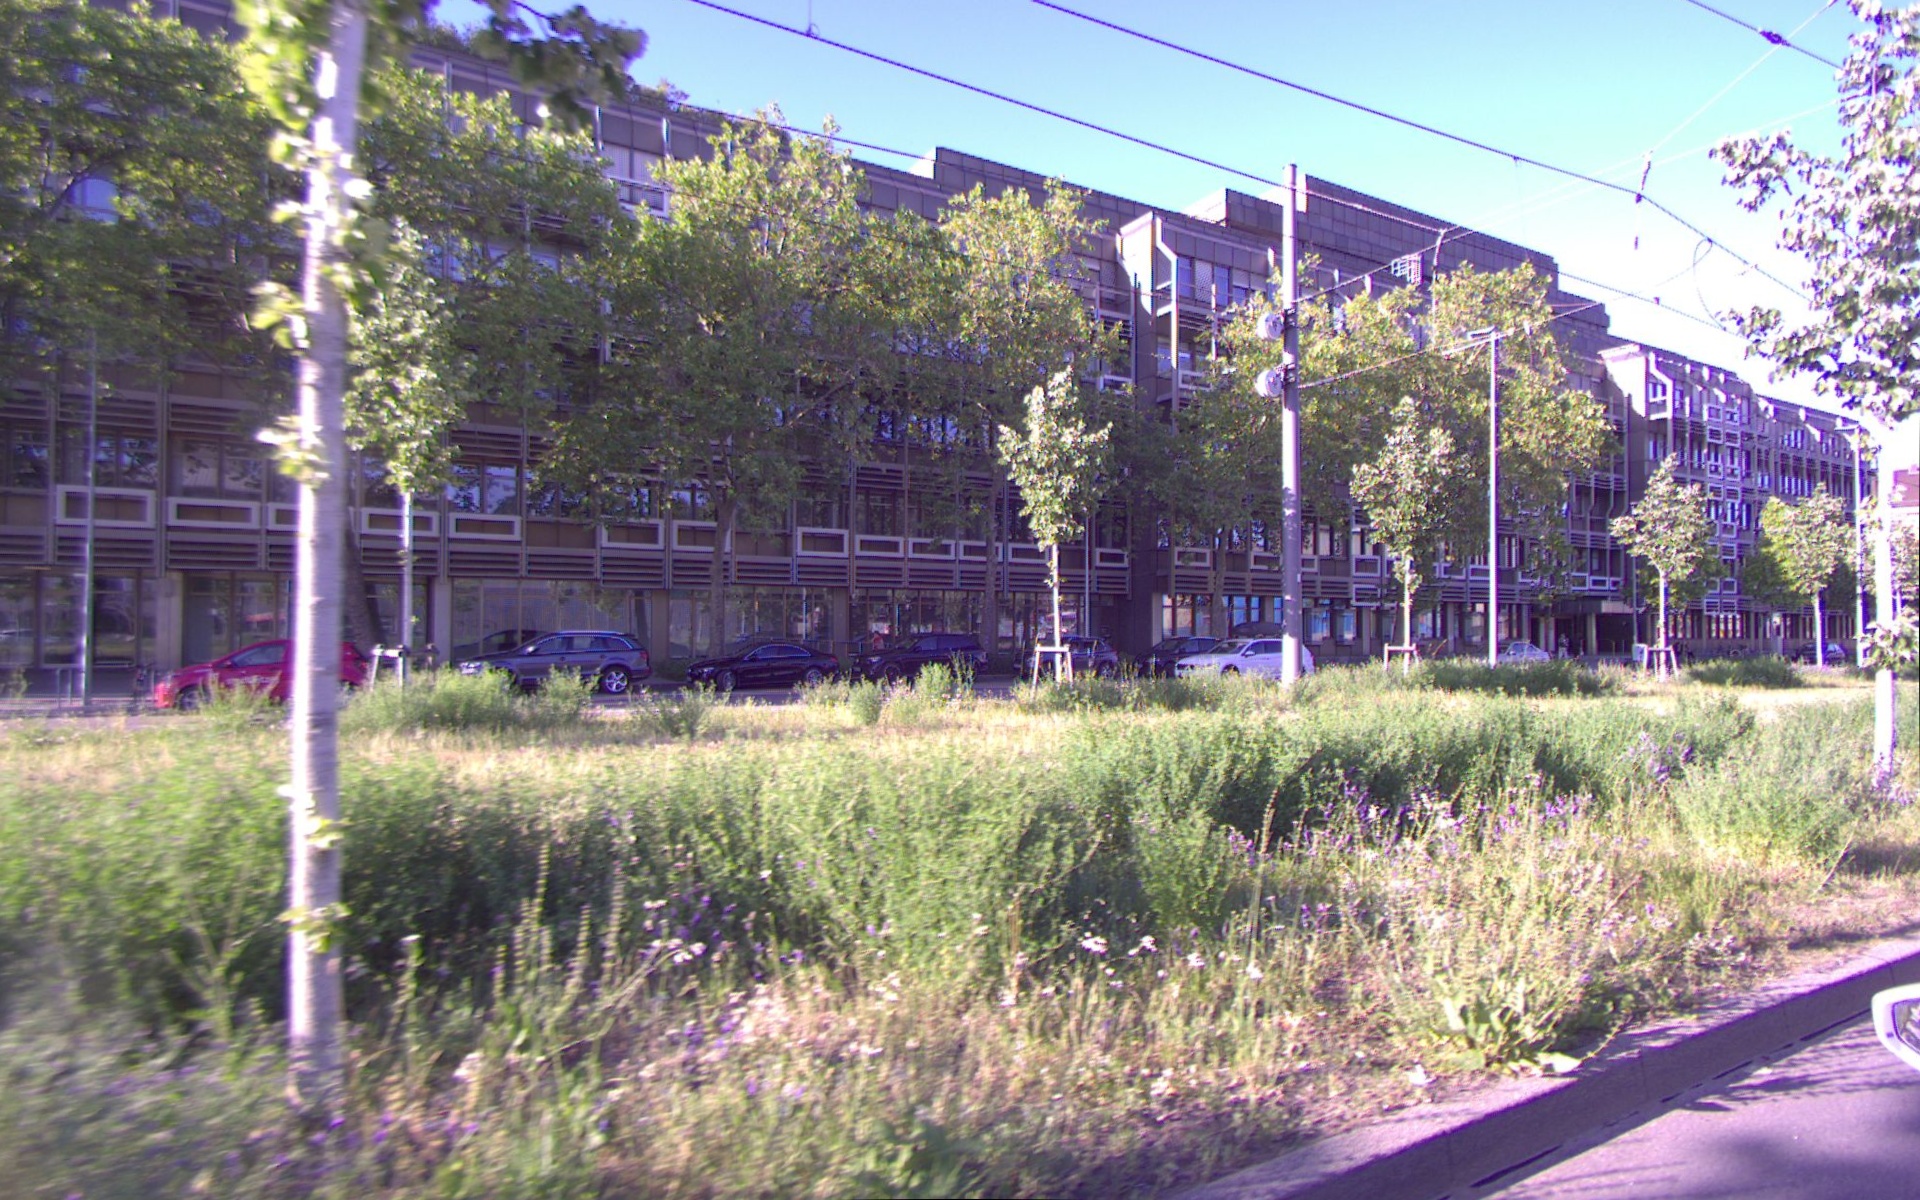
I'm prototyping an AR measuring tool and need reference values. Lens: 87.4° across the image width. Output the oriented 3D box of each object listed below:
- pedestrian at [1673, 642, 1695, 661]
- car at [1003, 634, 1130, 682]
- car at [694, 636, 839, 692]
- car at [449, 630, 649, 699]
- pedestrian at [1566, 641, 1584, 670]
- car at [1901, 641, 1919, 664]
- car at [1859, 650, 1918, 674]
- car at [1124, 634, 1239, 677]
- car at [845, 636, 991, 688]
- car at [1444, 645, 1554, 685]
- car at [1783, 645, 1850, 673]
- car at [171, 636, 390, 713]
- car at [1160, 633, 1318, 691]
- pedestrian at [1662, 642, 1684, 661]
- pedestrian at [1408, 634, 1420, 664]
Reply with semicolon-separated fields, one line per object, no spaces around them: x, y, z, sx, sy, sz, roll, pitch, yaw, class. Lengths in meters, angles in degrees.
47.903;3.404;66.489;0.888;1.184;0.896;1;-2;-30;pedestrian
3.893;2.116;36.642;4.307;1.653;1.904;1;-4;-28;car
-5.894;1.911;30.582;3.948;1.541;1.987;1;-1;-27;car
-11.275;1.733;27.679;4.815;1.702;1.982;2;-1;-32;car
33.995;3.054;55.528;0.643;1.552;0.659;2;-2;-35;pedestrian
68.950;3.753;71.444;4.253;1.596;1.894;2;-2;-32;car
63.559;4.224;68.770;4.253;1.596;1.894;2;-2;-32;car
8.632;2.162;39.124;4.226;1.617;1.853;2;-3;-29;car
-1.366;2.016;33.294;4.571;1.578;1.735;2;-1;-31;car
21.589;2.584;40.165;4.528;1.535;1.750;2;-3;-30;car
51.905;3.534;60.831;4.253;1.596;1.894;2;-2;-32;car
-13.826;1.518;20.699;3.532;1.471;1.704;2;-5;-29;car
8.299;1.803;29.774;4.637;1.615;1.832;2;-3;-30;car
46.904;3.386;66.078;0.856;1.184;0.895;1;-2;-31;pedestrian
23.939;2.585;52.992;0.441;1.582;0.407;1;-2;-29;pedestrian
